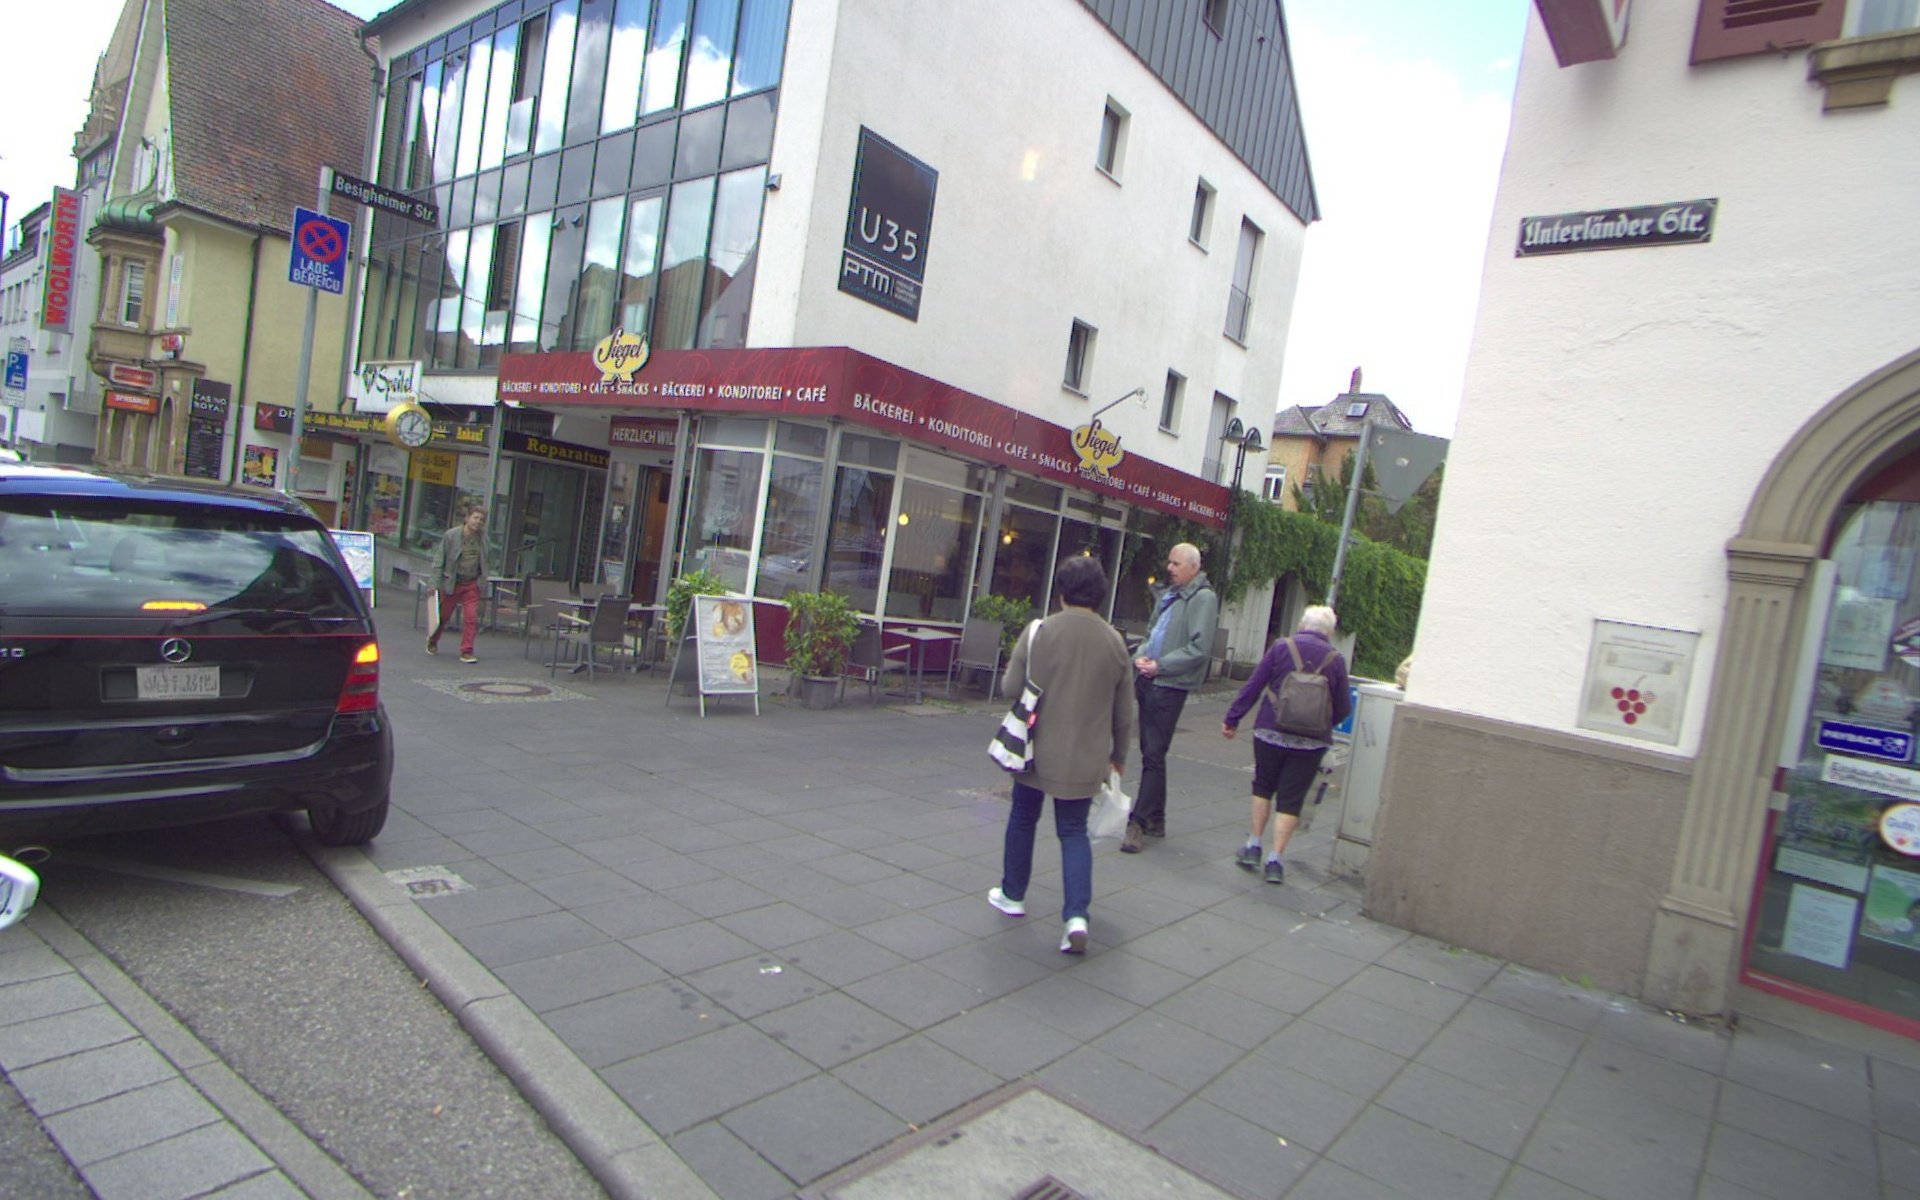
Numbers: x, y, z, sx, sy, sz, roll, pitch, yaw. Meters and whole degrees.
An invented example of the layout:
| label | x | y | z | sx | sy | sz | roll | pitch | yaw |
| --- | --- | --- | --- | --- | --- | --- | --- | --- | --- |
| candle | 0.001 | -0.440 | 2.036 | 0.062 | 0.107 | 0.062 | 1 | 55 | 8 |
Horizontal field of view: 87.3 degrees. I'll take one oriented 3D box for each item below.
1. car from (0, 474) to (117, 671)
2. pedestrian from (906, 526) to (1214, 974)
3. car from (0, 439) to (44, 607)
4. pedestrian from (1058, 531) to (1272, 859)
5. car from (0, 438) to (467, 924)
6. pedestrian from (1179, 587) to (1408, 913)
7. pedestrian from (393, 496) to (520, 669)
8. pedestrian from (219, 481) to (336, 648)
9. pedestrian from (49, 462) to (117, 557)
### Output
| label | x | y | z | sx | sy | sz | roll | pitch | yaw |
| --- | --- | --- | --- | --- | --- | --- | --- | --- | --- |
| car | -8.900 | -0.403 | 8.675 | 3.941 | 1.486 | 1.701 | 7 | 1 | 39 |
| pedestrian | 0.422 | 0.575 | 4.343 | 0.770 | 1.666 | 0.859 | 5 | 2 | -43 |
| car | -12.623 | -1.109 | 12.219 | 4.670 | 1.822 | 1.872 | 7 | 1 | 45 |
| pedestrian | 1.242 | 0.539 | 6.103 | 0.806 | 1.792 | 0.772 | 8 | 2 | 42 |
| car | -4.202 | 0.131 | 4.904 | 3.898 | 1.575 | 1.800 | 7 | 1 | 42 |
| pedestrian | 1.794 | 0.748 | 5.437 | 0.721 | 1.552 | 0.798 | 2 | 4 | -43 |
| pedestrian | -5.437 | -0.191 | 10.852 | 0.861 | 1.729 | 0.933 | 5 | 2 | -43 |
| pedestrian | -7.404 | -0.383 | 10.911 | 0.821 | 1.687 | 0.792 | 5 | 2 | -43 |
| pedestrian | -17.430 | -1.799 | 19.987 | 1.038 | 1.749 | 0.795 | 7 | 2 | 41 |
